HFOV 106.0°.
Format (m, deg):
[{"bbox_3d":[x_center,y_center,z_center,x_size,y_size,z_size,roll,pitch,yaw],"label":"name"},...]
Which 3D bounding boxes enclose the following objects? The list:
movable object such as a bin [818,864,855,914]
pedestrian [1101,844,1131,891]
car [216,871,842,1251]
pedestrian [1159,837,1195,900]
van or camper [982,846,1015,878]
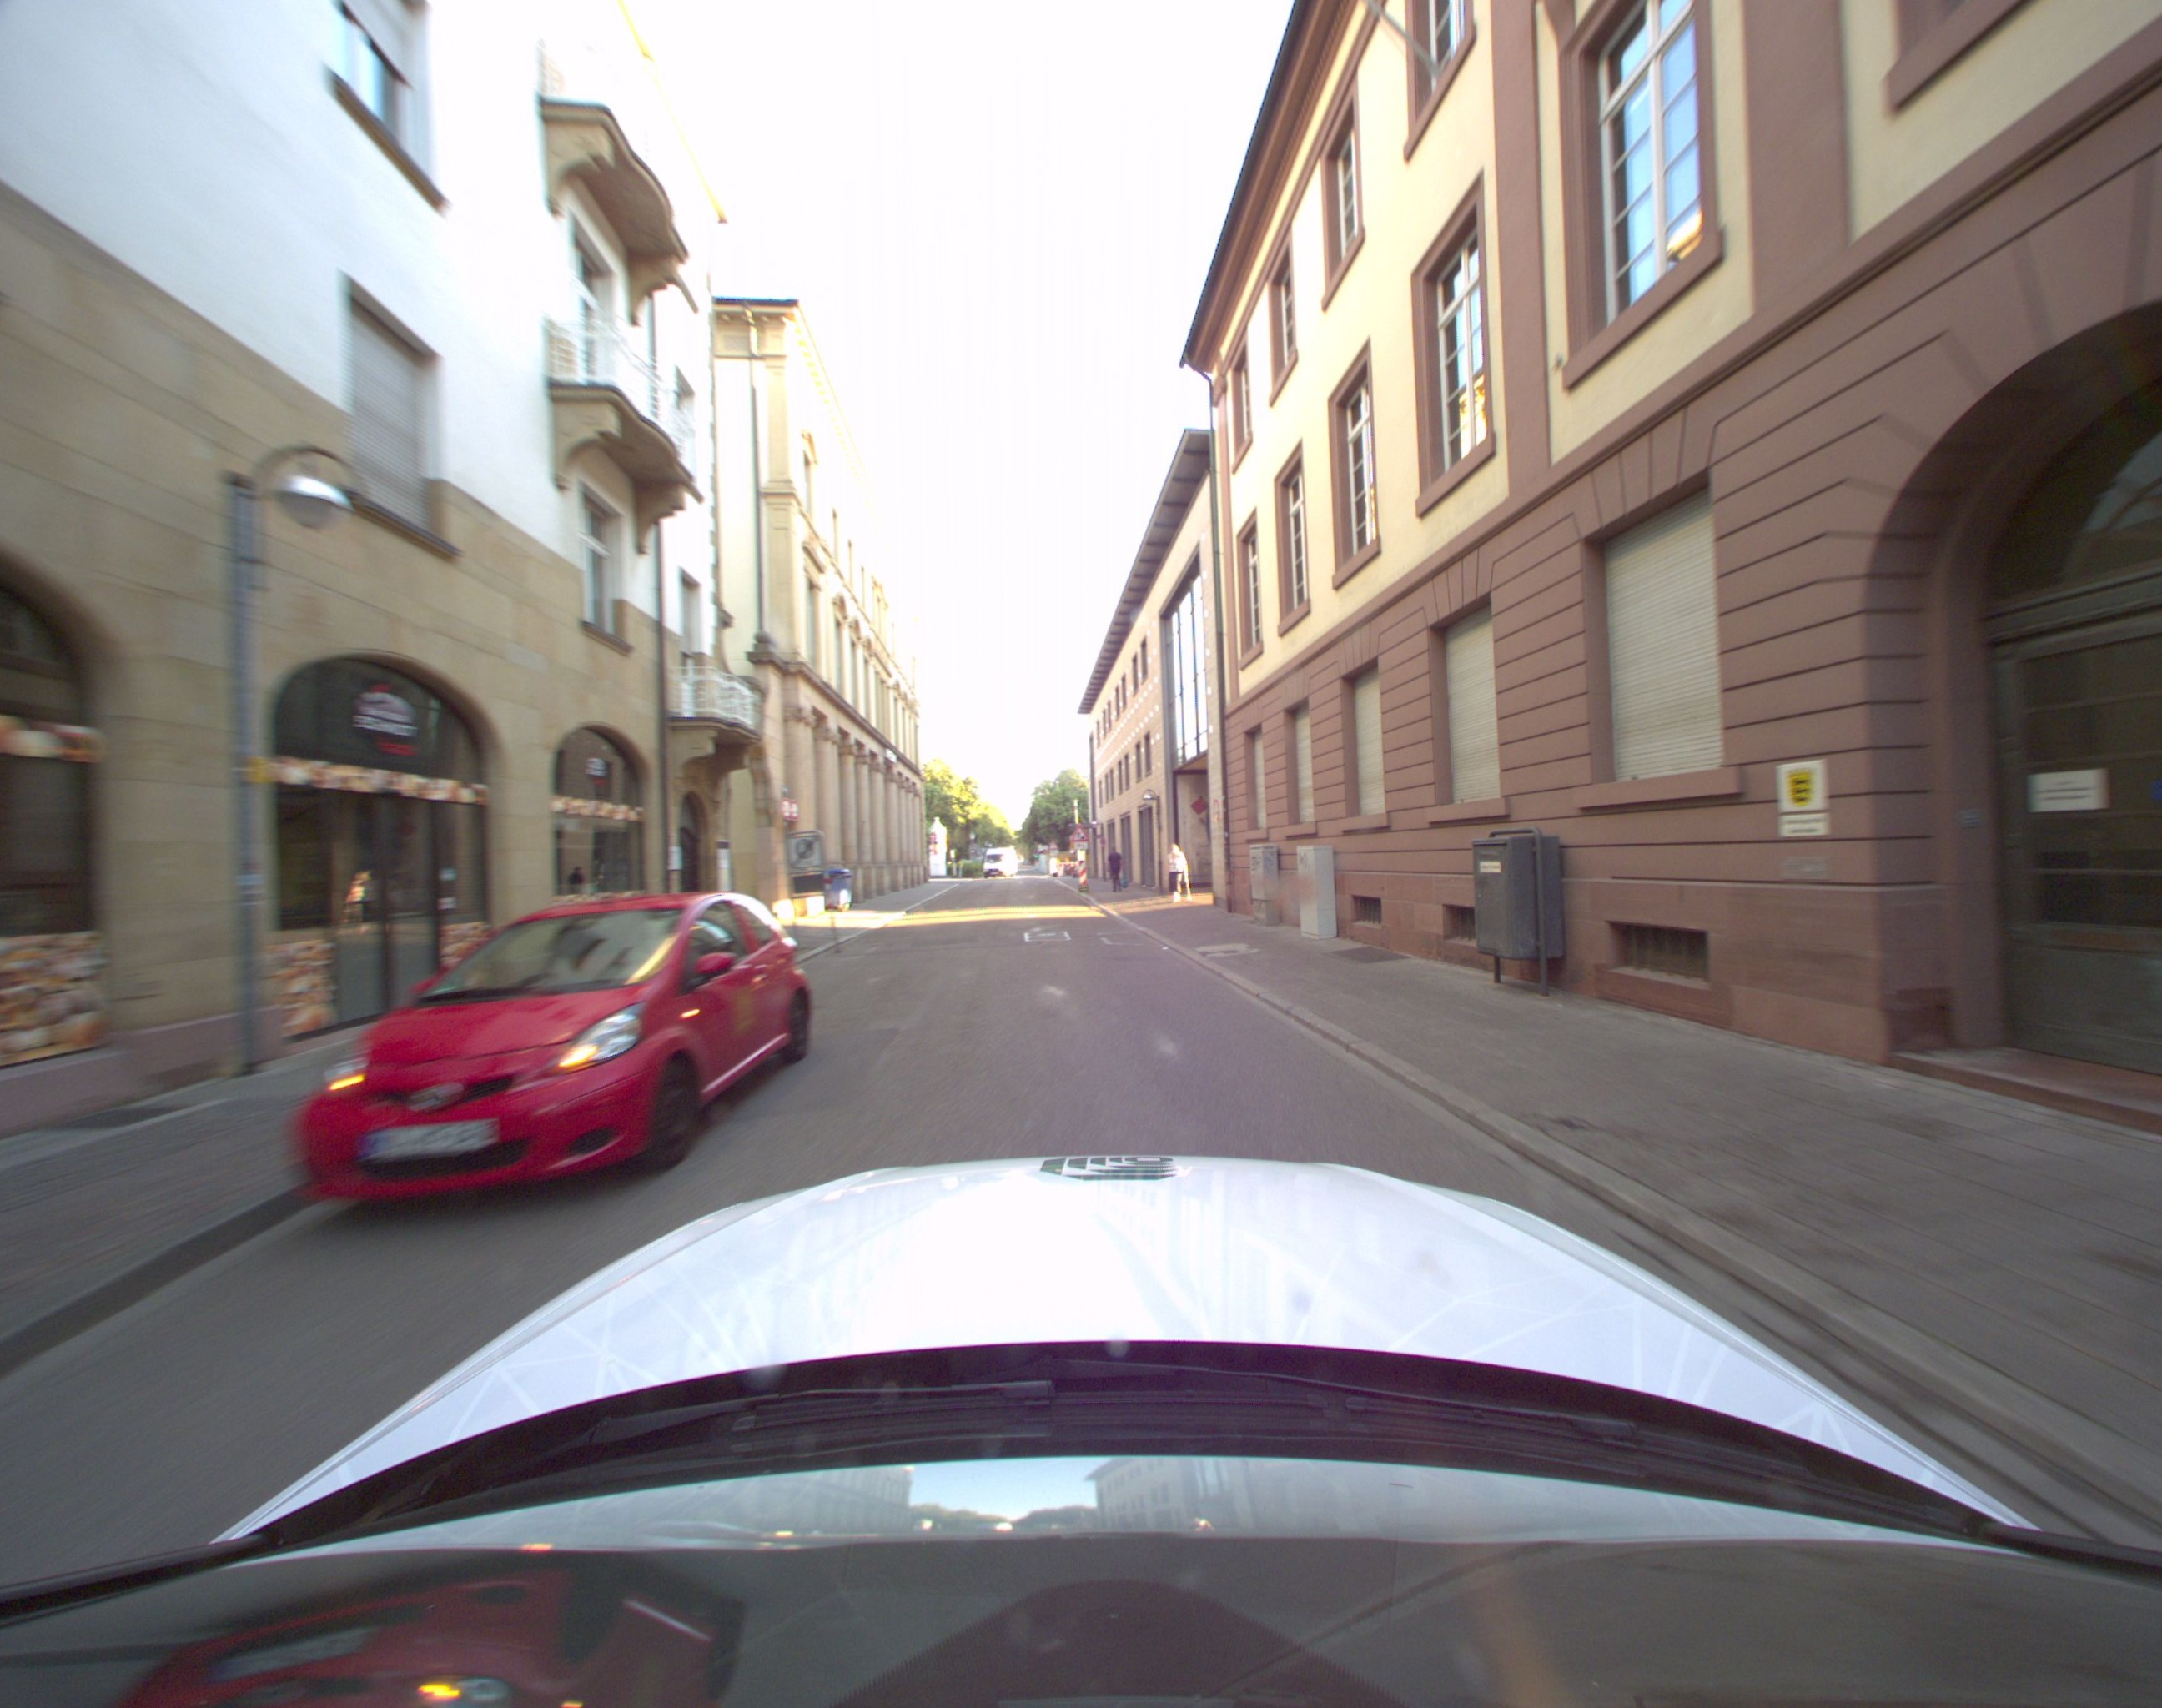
[{"bbox_3d":[-7.754,1.094,25.876,0.827,1.503,1.289,-2,0,-4],"label":"movable object such as a bin"},{"bbox_3d":[1.403,0.540,32.819,0.999,1.803,0.880,-3,-1,-6],"label":"pedestrian"},{"bbox_3d":[-3.013,0.948,5.585,1.654,1.469,3.926,-6,-1,-4],"label":"car"},{"bbox_3d":[2.864,0.439,24.434,0.843,1.803,0.897,-5,-1,0],"label":"pedestrian"},{"bbox_3d":[-7.033,0.682,69.815,2.213,2.585,6.368,-2,0,-1],"label":"van or camper"}]
